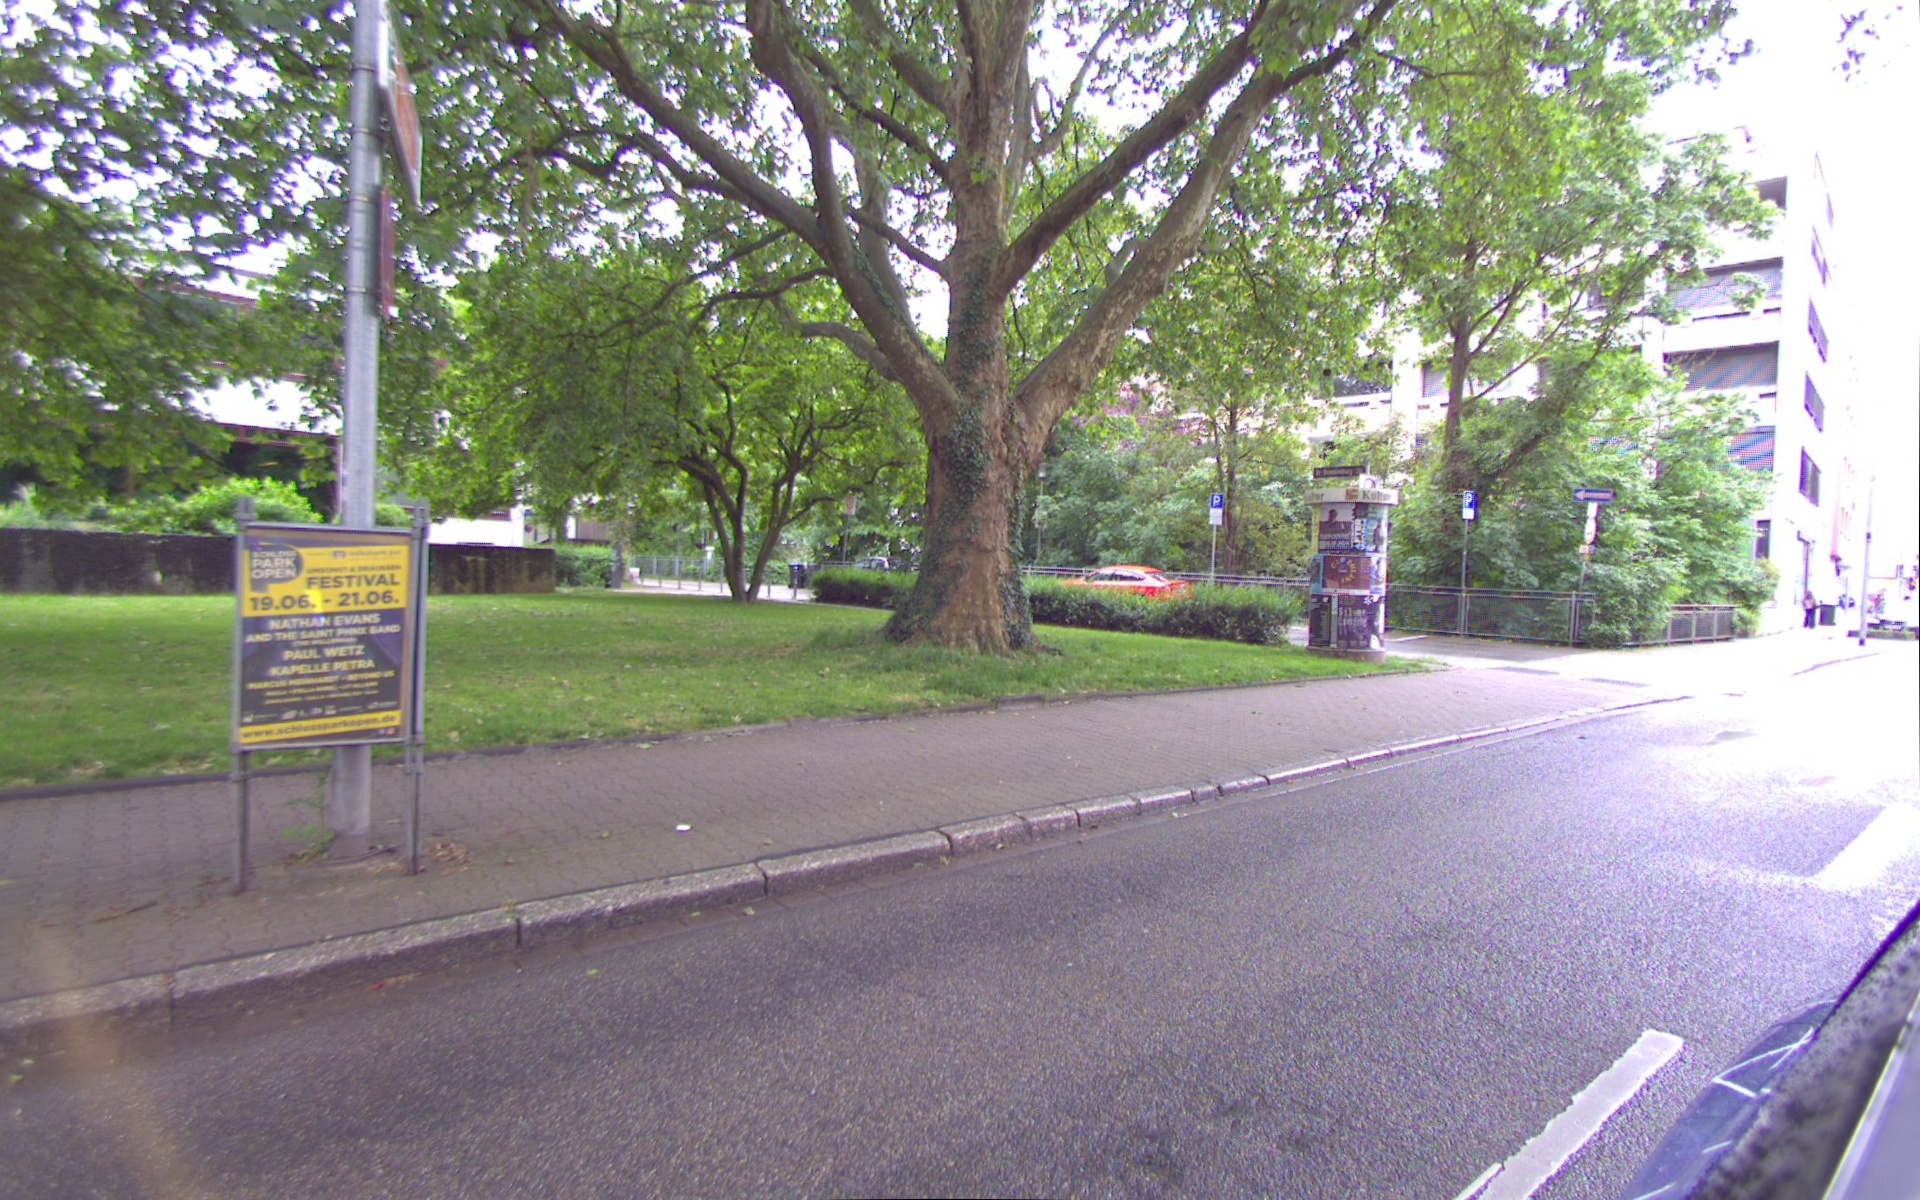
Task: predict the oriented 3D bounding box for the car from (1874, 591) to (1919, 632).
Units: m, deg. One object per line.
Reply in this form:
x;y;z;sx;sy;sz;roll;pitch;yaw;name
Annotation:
37.401;0.446;39.751;3.617;1.449;1.681;0;5;-41;car

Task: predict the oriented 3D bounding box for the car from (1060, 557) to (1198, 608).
4.870;-0.543;29.534;1.551;1.294;3.784;-1;4;-44;car

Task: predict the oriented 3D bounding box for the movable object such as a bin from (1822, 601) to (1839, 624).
41.906;0.611;48.725;0.287;1.054;0.556;0;3;-41;movable object such as a bin

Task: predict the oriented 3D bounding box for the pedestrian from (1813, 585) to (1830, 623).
35.513;0.147;41.726;0.473;1.549;0.480;0;0;-41;pedestrian

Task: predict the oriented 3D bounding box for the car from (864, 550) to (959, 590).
-1.782;-1.089;36.572;3.460;1.294;1.426;5;4;45;car
